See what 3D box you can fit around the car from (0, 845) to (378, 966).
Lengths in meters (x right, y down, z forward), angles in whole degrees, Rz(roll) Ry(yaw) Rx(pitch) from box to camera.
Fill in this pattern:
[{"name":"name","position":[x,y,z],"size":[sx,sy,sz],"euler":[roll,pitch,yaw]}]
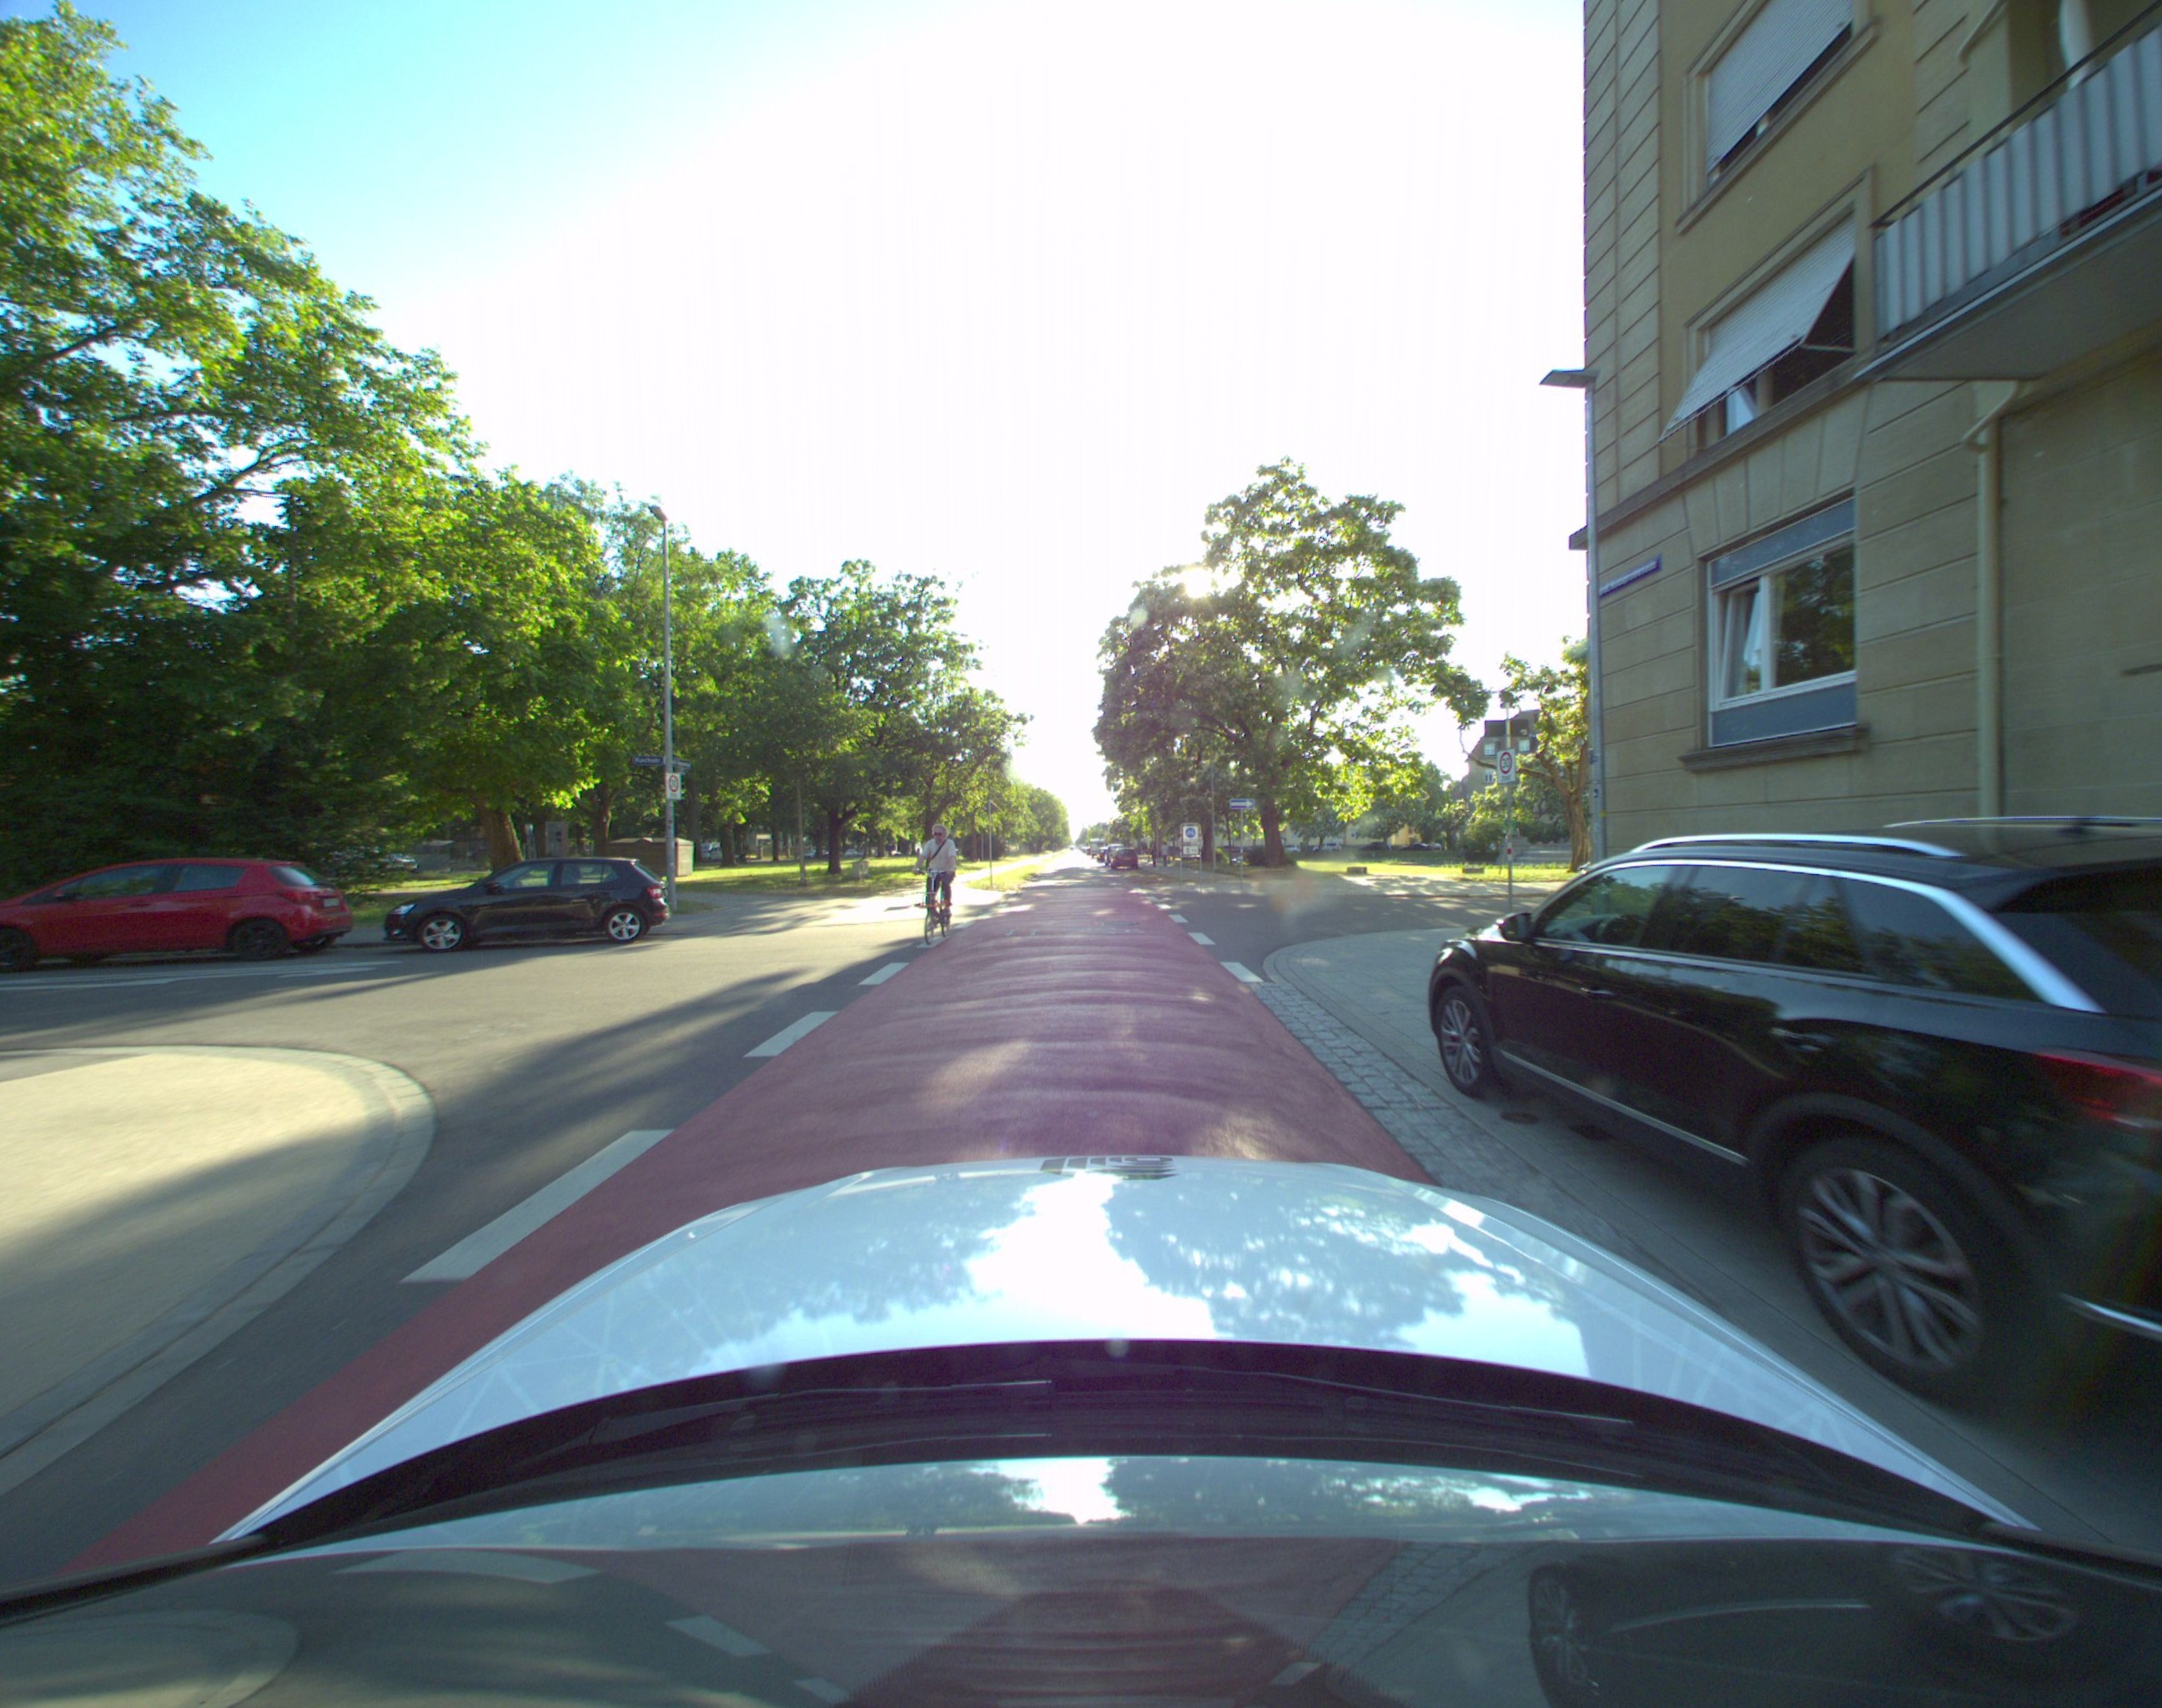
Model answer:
[{"name":"car","position":[-13.341,0.686,12.087],"size":[4.007,1.574,1.875],"euler":[-1,-1,-26]}]

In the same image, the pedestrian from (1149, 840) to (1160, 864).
[{"name":"pedestrian","position":[5.188,-0.153,57.456],"size":[0.751,1.736,0.731],"euler":[0,1,0]}]

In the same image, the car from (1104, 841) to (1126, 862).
[{"name":"car","position":[2.967,-0.250,71.356],"size":[1.673,1.740,4.512],"euler":[-1,0,-1]}]

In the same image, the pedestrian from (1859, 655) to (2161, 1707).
[{"name":"pedestrian","position":[2.272,0.550,1.496],"size":[0.950,1.769,0.778],"euler":[0,1,-2]}]

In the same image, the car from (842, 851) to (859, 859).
[{"name":"car","position":[-42.705,0.132,150.891],"size":[1.987,1.508,4.115],"euler":[-1,0,0]}]

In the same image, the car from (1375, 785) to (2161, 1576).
[{"name":"car","position":[3.041,0.588,3.790],"size":[1.698,1.625,4.348],"euler":[-3,1,0]}]

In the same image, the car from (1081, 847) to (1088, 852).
[{"name":"car","position":[0.978,-1.201,218.881],"size":[1.621,1.409,4.247],"euler":[-1,0,-1]}]

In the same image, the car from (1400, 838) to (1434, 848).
[{"name":"car","position":[50.103,-1.629,121.524],"size":[1.890,1.453,4.318],"euler":[-1,0,-38]}]

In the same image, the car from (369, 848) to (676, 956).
[{"name":"car","position":[-9.127,0.729,13.777],"size":[4.007,1.574,1.875],"euler":[-1,-1,-26]}]

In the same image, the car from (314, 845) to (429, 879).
[{"name":"car","position":[-45.633,0.487,52.498],"size":[4.943,2.113,2.675],"euler":[0,1,-4]}]

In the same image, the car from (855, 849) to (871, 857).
[{"name":"car","position":[-42.842,-0.137,160.235],"size":[1.987,1.508,4.115],"euler":[-1,0,0]}]

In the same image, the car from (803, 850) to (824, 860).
[{"name":"car","position":[-42.347,0.101,129.150],"size":[1.987,1.508,4.000],"euler":[-1,0,0]}]

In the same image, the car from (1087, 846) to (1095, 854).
[{"name":"car","position":[2.007,-0.816,165.591],"size":[1.621,1.669,4.247],"euler":[-1,0,-1]}]

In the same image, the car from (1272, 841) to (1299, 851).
[{"name":"car","position":[33.672,-1.380,134.172],"size":[3.950,1.552,1.620],"euler":[-1,0,27]}]

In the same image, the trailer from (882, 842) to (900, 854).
[{"name":"trailer","position":[-43.075,-1.323,184.841],"size":[2.451,2.489,7.049],"euler":[-1,0,0]}]

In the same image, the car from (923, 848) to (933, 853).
[{"name":"car","position":[-43.133,-1.024,228.945],"size":[1.987,1.508,4.115],"euler":[-1,0,0]}]

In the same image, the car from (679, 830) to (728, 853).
[{"name":"car","position":[-42.638,-1.336,92.137],"size":[2.713,2.463,6.314],"euler":[-1,0,-2]}]

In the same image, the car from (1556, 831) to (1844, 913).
[{"name":"car","position":[12.108,0.327,16.093],"size":[4.433,1.419,1.932],"euler":[-1,0,-6]}]

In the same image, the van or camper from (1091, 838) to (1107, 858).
[{"name":"van or camper","position":[2.708,-0.867,124.295],"size":[2.227,2.904,5.670],"euler":[-1,-1,-1]}]

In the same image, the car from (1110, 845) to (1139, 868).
[{"name":"car","position":[3.006,0.161,57.441],"size":[1.673,1.486,4.808],"euler":[-1,0,-1]}]

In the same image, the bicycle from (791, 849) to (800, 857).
[{"name":"bicycle","position":[-44.595,-0.142,127.353],"size":[0.655,1.175,2.331],"euler":[-1,0,-3]}]

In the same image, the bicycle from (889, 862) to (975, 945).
[{"name":"bicycle","position":[-2.256,0.711,12.639],"size":[0.734,1.135,2.108],"euler":[0,1,6]}]

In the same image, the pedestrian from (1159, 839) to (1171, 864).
[{"name":"pedestrian","position":[5.930,-0.196,57.448],"size":[0.723,1.736,0.731],"euler":[0,1,0]}]

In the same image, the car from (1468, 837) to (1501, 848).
[{"name":"car","position":[59.402,-1.665,119.850],"size":[1.887,1.453,3.960],"euler":[-1,0,-32]}]

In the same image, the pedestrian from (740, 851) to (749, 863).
[{"name":"pedestrian","position":[-28.180,0.282,68.142],"size":[0.548,0.987,0.608],"euler":[-1,0,-9]}]

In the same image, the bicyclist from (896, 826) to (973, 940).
[{"name":"bicyclist","position":[-2.256,0.430,12.645],"size":[0.932,1.702,0.907],"euler":[0,0,6]}]

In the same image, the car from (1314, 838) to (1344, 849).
[{"name":"car","position":[41.567,-1.685,136.501],"size":[4.467,1.746,1.893],"euler":[-1,0,34]}]

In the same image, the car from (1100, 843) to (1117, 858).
[{"name":"car","position":[2.915,-0.362,86.774],"size":[1.726,1.551,4.276],"euler":[-1,0,0]}]
